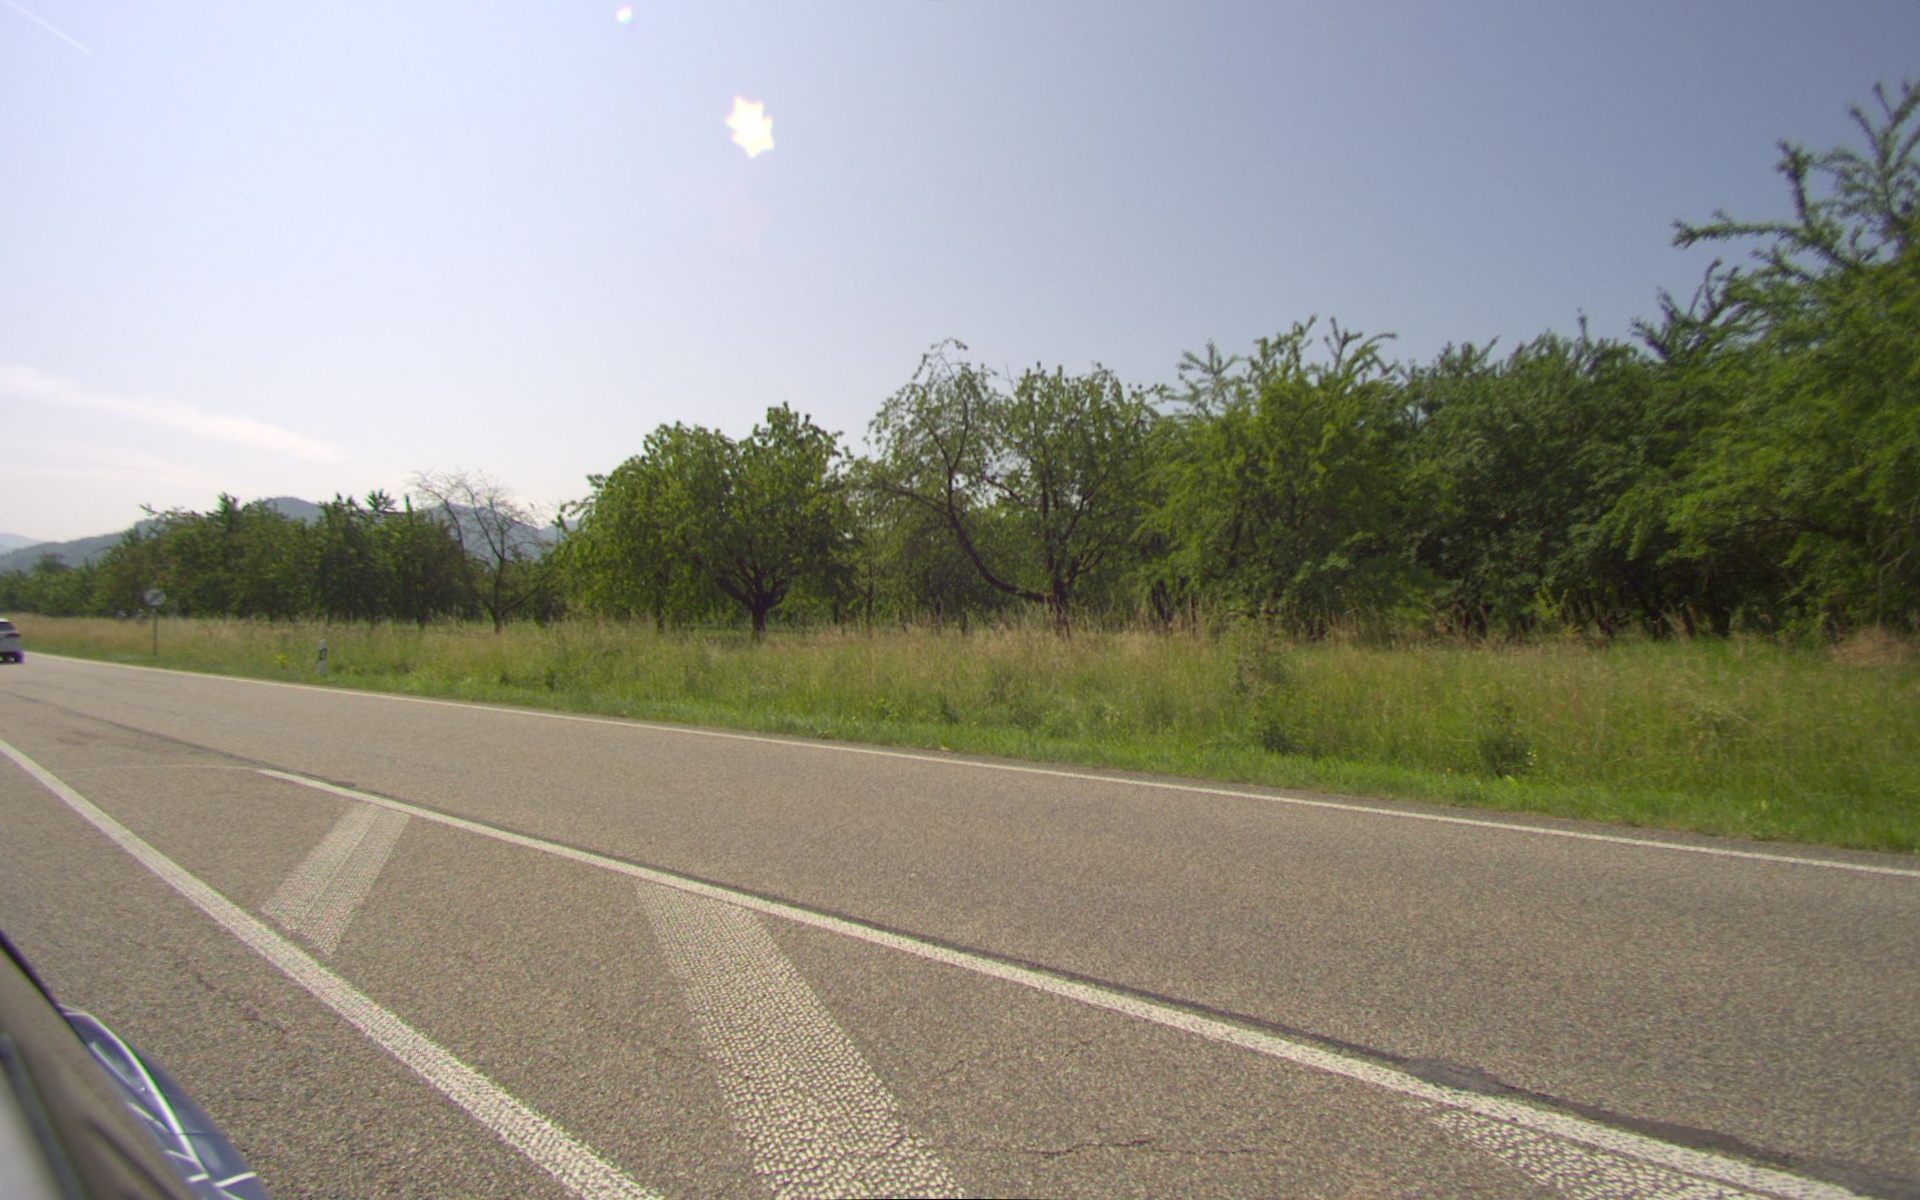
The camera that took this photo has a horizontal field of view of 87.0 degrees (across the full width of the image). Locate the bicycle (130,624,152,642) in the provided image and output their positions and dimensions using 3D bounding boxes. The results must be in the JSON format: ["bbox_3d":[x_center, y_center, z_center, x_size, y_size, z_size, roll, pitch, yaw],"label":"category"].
[{"bbox_3d":[-51.180,2.054,63.230,2.224,0.997,0.732,0,0,42],"label":"bicycle"}]

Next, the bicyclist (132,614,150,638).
[{"bbox_3d":[-51.176,1.629,63.231,0.863,1.466,0.732,0,0,42],"label":"bicyclist"}]

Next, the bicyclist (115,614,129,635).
[{"bbox_3d":[-58.283,1.705,70.359,0.863,1.425,0.634,0,0,42],"label":"bicyclist"}]

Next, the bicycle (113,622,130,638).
[{"bbox_3d":[-58.287,2.072,70.366,1.955,0.997,0.642,0,0,42],"label":"bicycle"}]

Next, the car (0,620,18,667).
[{"bbox_3d":[-32.977,1.443,33.852,4.133,1.505,1.658,-1,-1,40],"label":"car"}]
